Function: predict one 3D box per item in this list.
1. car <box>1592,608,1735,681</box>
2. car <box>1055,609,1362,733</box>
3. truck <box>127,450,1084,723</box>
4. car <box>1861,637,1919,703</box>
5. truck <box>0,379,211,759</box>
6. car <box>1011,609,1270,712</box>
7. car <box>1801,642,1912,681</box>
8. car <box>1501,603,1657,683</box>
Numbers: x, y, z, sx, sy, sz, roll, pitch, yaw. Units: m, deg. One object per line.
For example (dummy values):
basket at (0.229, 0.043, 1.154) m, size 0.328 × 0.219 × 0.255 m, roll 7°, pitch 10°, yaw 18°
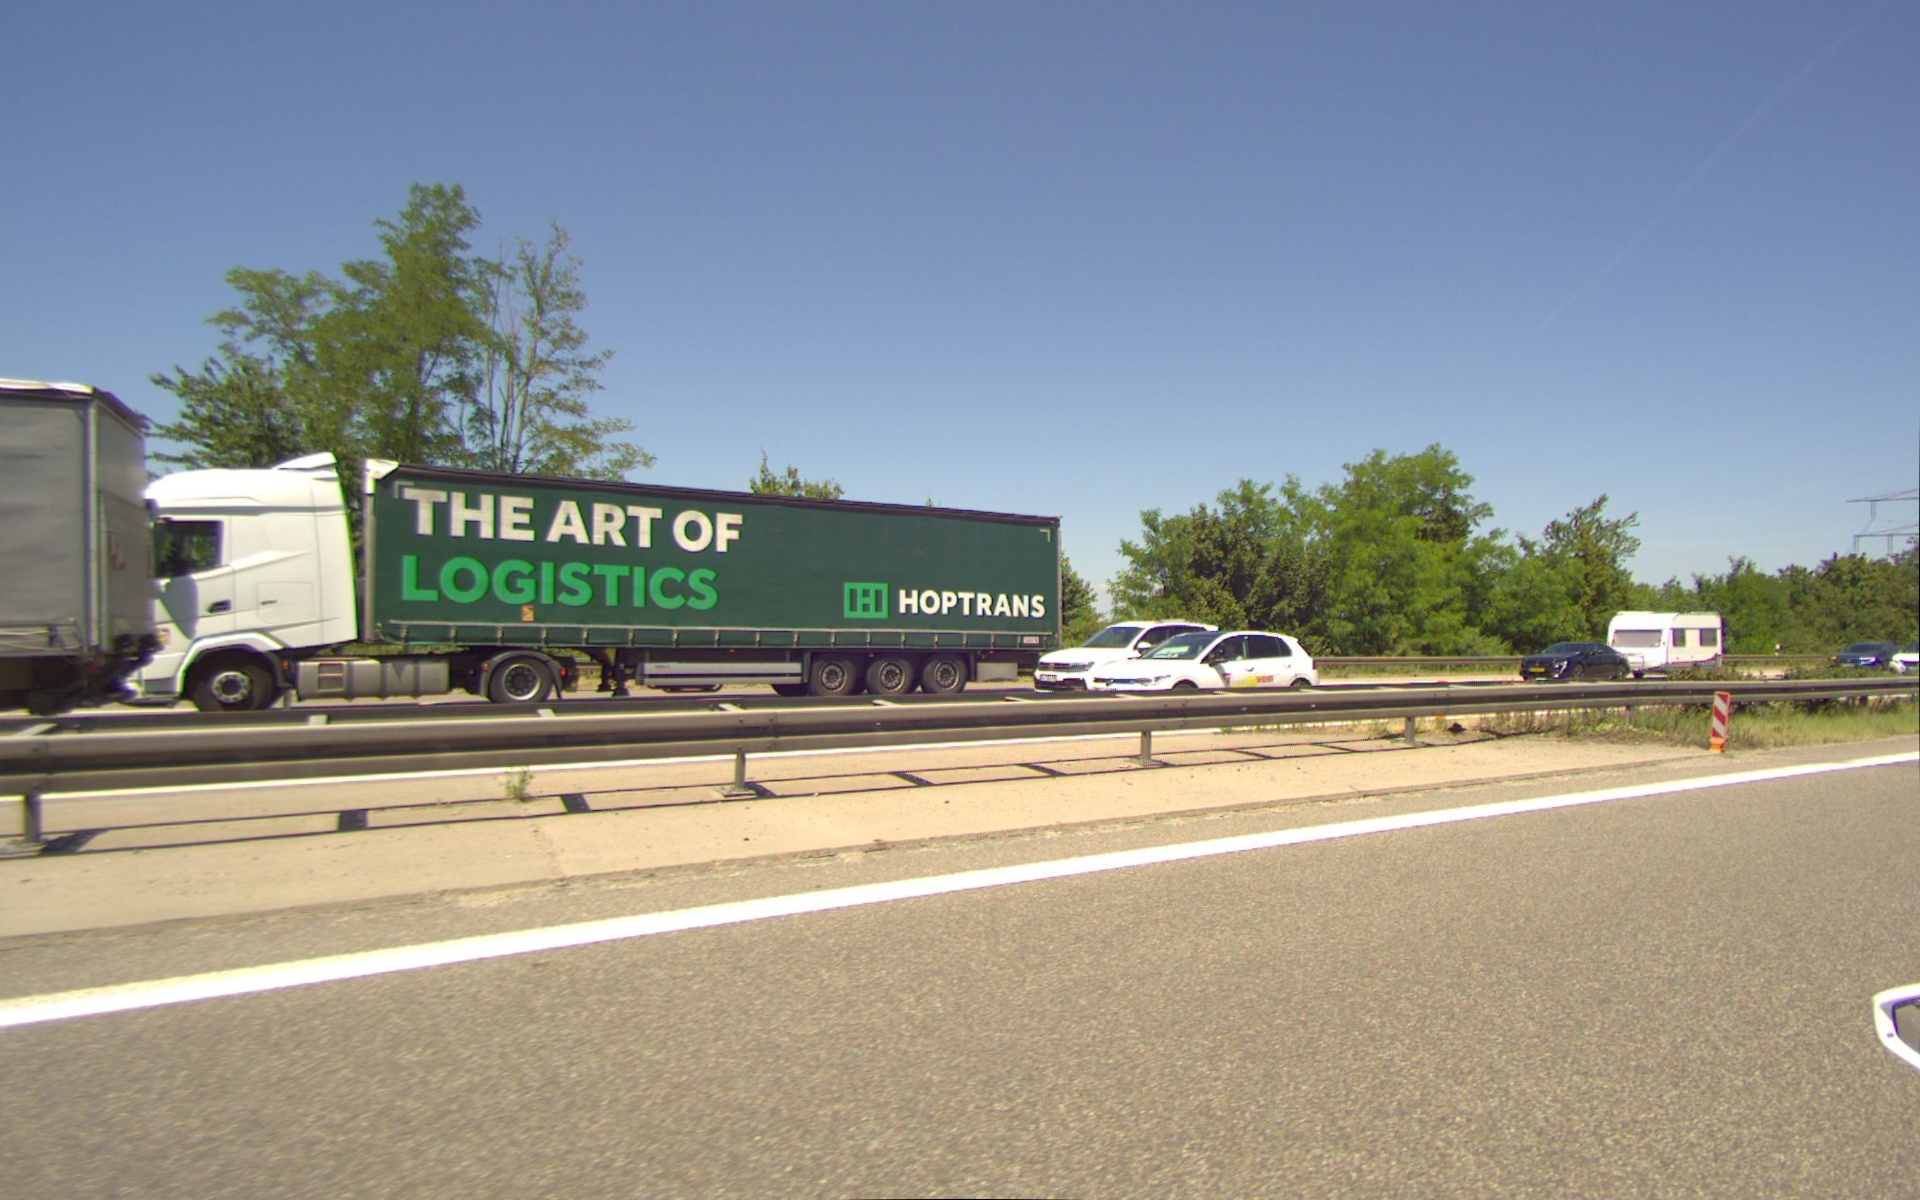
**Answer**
car at (27.228, 1.698, 38.830) m, size 5.650 × 2.649 × 2.407 m, roll 1°, pitch -2°, yaw -30°
car at (4.255, 1.126, 16.956) m, size 5.048 × 1.815 × 2.065 m, roll 1°, pitch -2°, yaw -30°
truck at (-5.283, -0.029, 19.866) m, size 16.814 × 3.853 × 3.228 m, roll 1°, pitch 0°, yaw -31°
car at (32.952, 2.353, 34.042) m, size 4.504 × 2.040 × 2.286 m, roll 1°, pitch 0°, yaw -30°
truck at (-13.618, -0.423, 10.098) m, size 9.381 × 3.971 × 2.843 m, roll 1°, pitch 1°, yaw -30°
car at (3.701, 1.177, 20.306) m, size 5.048 × 1.855 × 2.065 m, roll 1°, pitch -2°, yaw -30°
car at (40.859, 2.756, 45.772) m, size 4.695 × 1.658 × 2.471 m, roll 1°, pitch -2°, yaw -30°
car at (22.217, 1.525, 35.996) m, size 5.650 × 2.649 × 2.407 m, roll 1°, pitch -2°, yaw -30°
